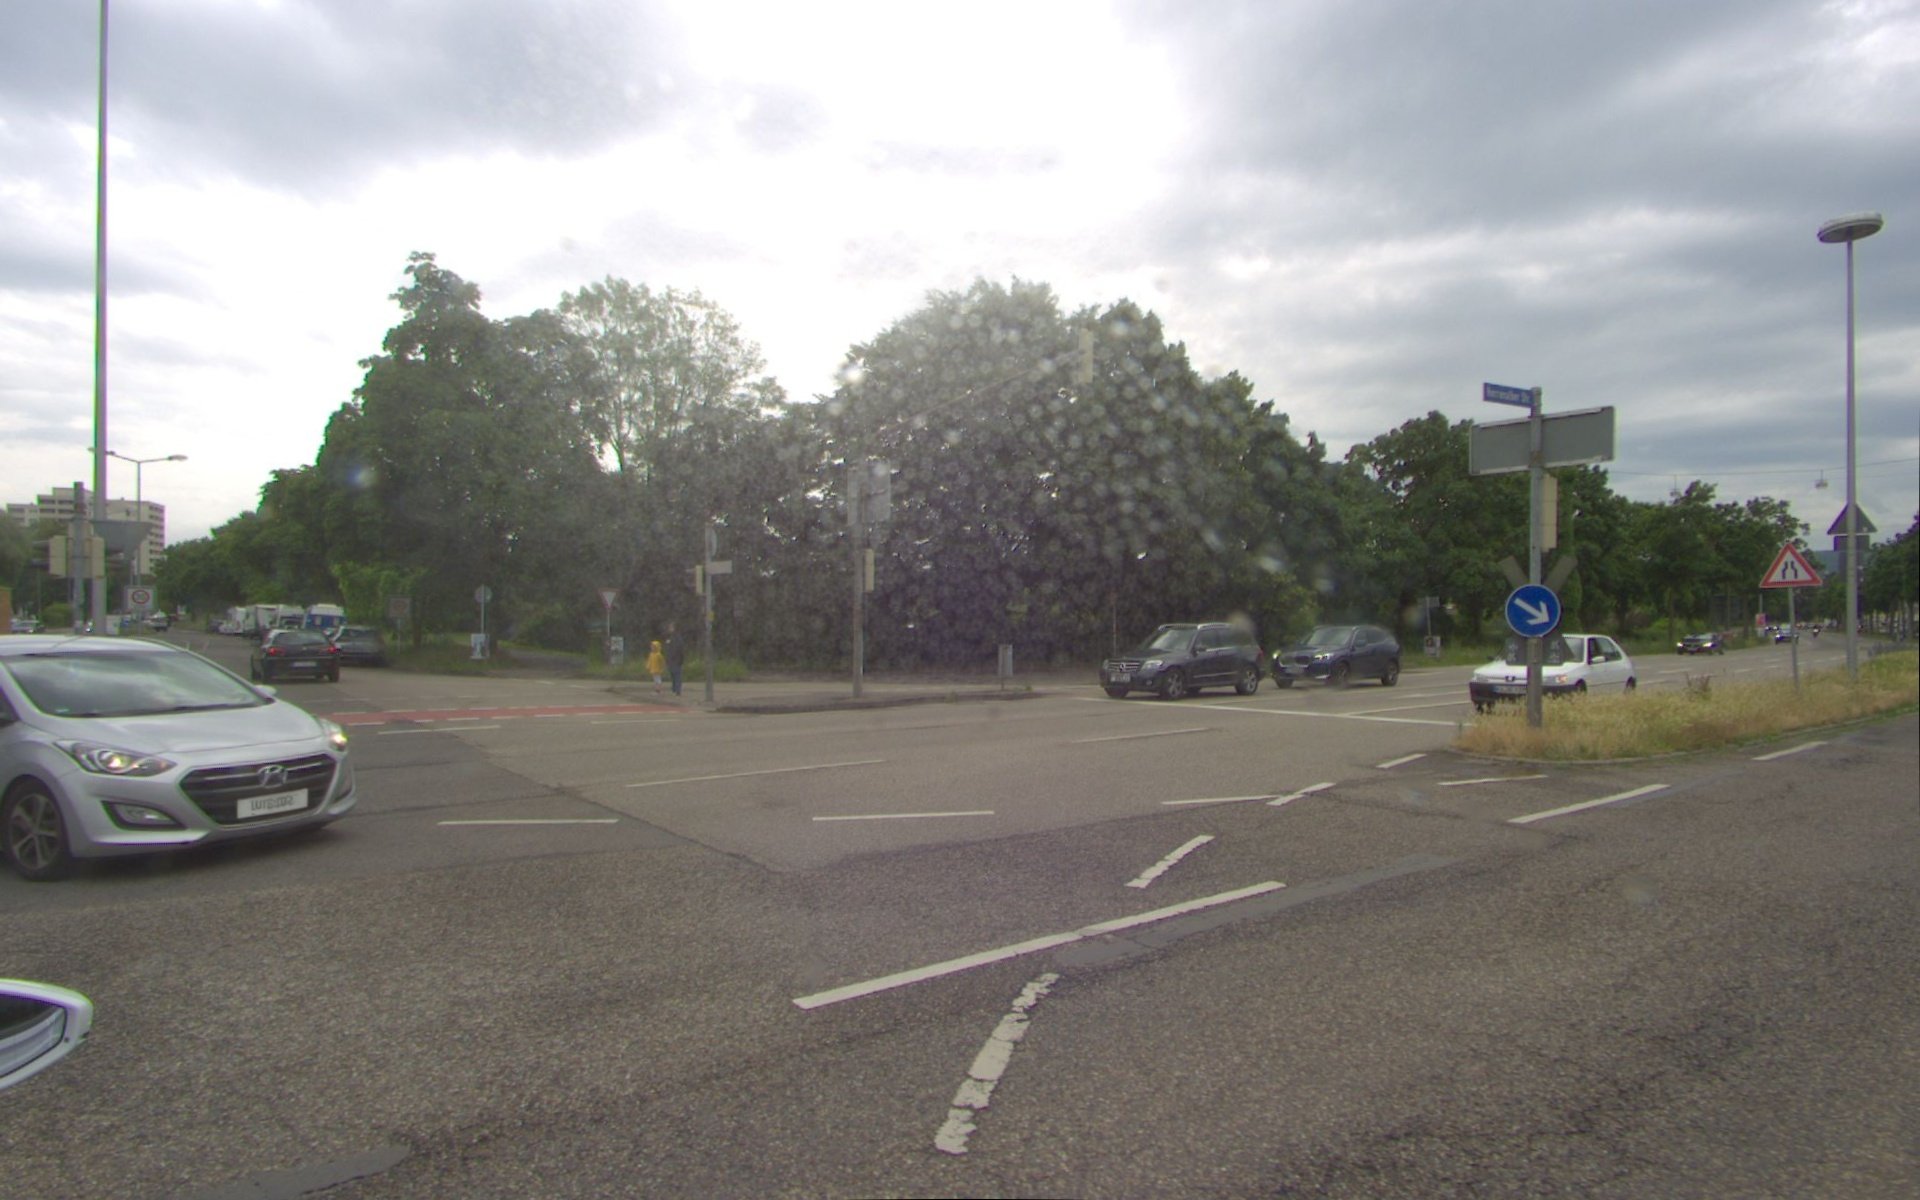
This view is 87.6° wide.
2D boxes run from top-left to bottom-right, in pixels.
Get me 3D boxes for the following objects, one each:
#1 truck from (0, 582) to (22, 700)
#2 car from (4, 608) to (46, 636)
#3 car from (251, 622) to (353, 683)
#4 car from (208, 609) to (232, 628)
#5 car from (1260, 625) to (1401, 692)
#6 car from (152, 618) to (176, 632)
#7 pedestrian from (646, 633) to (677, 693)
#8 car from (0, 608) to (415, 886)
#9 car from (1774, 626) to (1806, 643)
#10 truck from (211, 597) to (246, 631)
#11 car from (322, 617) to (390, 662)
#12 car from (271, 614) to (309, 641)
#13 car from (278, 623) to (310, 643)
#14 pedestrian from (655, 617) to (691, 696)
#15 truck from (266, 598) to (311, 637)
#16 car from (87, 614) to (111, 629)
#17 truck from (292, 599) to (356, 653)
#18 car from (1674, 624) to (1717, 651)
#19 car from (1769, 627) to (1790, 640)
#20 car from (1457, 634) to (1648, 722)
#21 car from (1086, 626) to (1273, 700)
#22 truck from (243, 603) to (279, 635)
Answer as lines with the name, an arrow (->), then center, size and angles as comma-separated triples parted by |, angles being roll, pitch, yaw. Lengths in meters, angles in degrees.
truck -> -19.070, 0.750, 18.394 | 2.137, 2.227, 5.794 | 1, -1, -38
car -> -70.750, 1.676, 75.841 | 1.977, 2.040, 3.968 | 1, -1, -38
car -> -18.040, 1.362, 27.362 | 1.784, 1.476, 4.501 | 1, -1, -40
car -> -77.715, 1.963, 105.131 | 1.640, 1.943, 3.880 | 1, 0, -43
car -> 9.874, 1.487, 26.582 | 3.957, 1.639, 1.862 | 1, -1, -41
car -> -87.980, 2.734, 110.596 | 2.004, 1.525, 3.967 | 1, -1, -40
pedestrian -> -6.929, 1.442, 23.210 | 0.522, 1.359, 0.520 | 1, 0, -40
car -> -6.242, 0.887, 7.160 | 4.251, 1.538, 1.791 | -1, -1, 21
car -> 79.091, 3.266, 95.399 | 3.957, 1.594, 1.745 | 1, -1, -41
truck -> -67.729, 1.337, 92.651 | 1.980, 3.047, 5.719 | 1, -1, -42
car -> -24.109, 1.547, 39.918 | 1.770, 1.683, 3.967 | 1, -1, -40
car -> -46.068, 1.866, 68.852 | 1.707, 1.782, 3.965 | 1, -1, -41
car -> -43.608, 2.154, 65.561 | 1.314, 1.206, 3.621 | 1, -1, -41
pedestrian -> -6.509, 1.268, 22.743 | 0.652, 1.773, 0.455 | 1, 0, -40
truck -> -51.467, 1.380, 76.696 | 1.980, 2.875, 5.677 | 1, -1, -43
car -> -89.470, 2.225, 104.060 | 1.630, 1.614, 3.969 | 1, -1, -38
truck -> -33.966, 1.364, 53.391 | 2.157, 2.691, 6.195 | 0, -1, -39
car -> 45.056, 2.275, 61.304 | 1.644, 1.550, 3.856 | 0, -1, 44
car -> 107.416, 4.340, 131.260 | 1.978, 1.677, 3.967 | -1, -2, 42
car -> 10.663, 1.312, 17.903 | 4.103, 1.375, 1.634 | 1, -1, -39
car -> 5.077, 1.369, 22.880 | 4.429, 1.523, 1.831 | 1, -1, -39
truck -> -59.675, 1.623, 85.437 | 1.979, 2.606, 5.331 | 1, -1, -41
